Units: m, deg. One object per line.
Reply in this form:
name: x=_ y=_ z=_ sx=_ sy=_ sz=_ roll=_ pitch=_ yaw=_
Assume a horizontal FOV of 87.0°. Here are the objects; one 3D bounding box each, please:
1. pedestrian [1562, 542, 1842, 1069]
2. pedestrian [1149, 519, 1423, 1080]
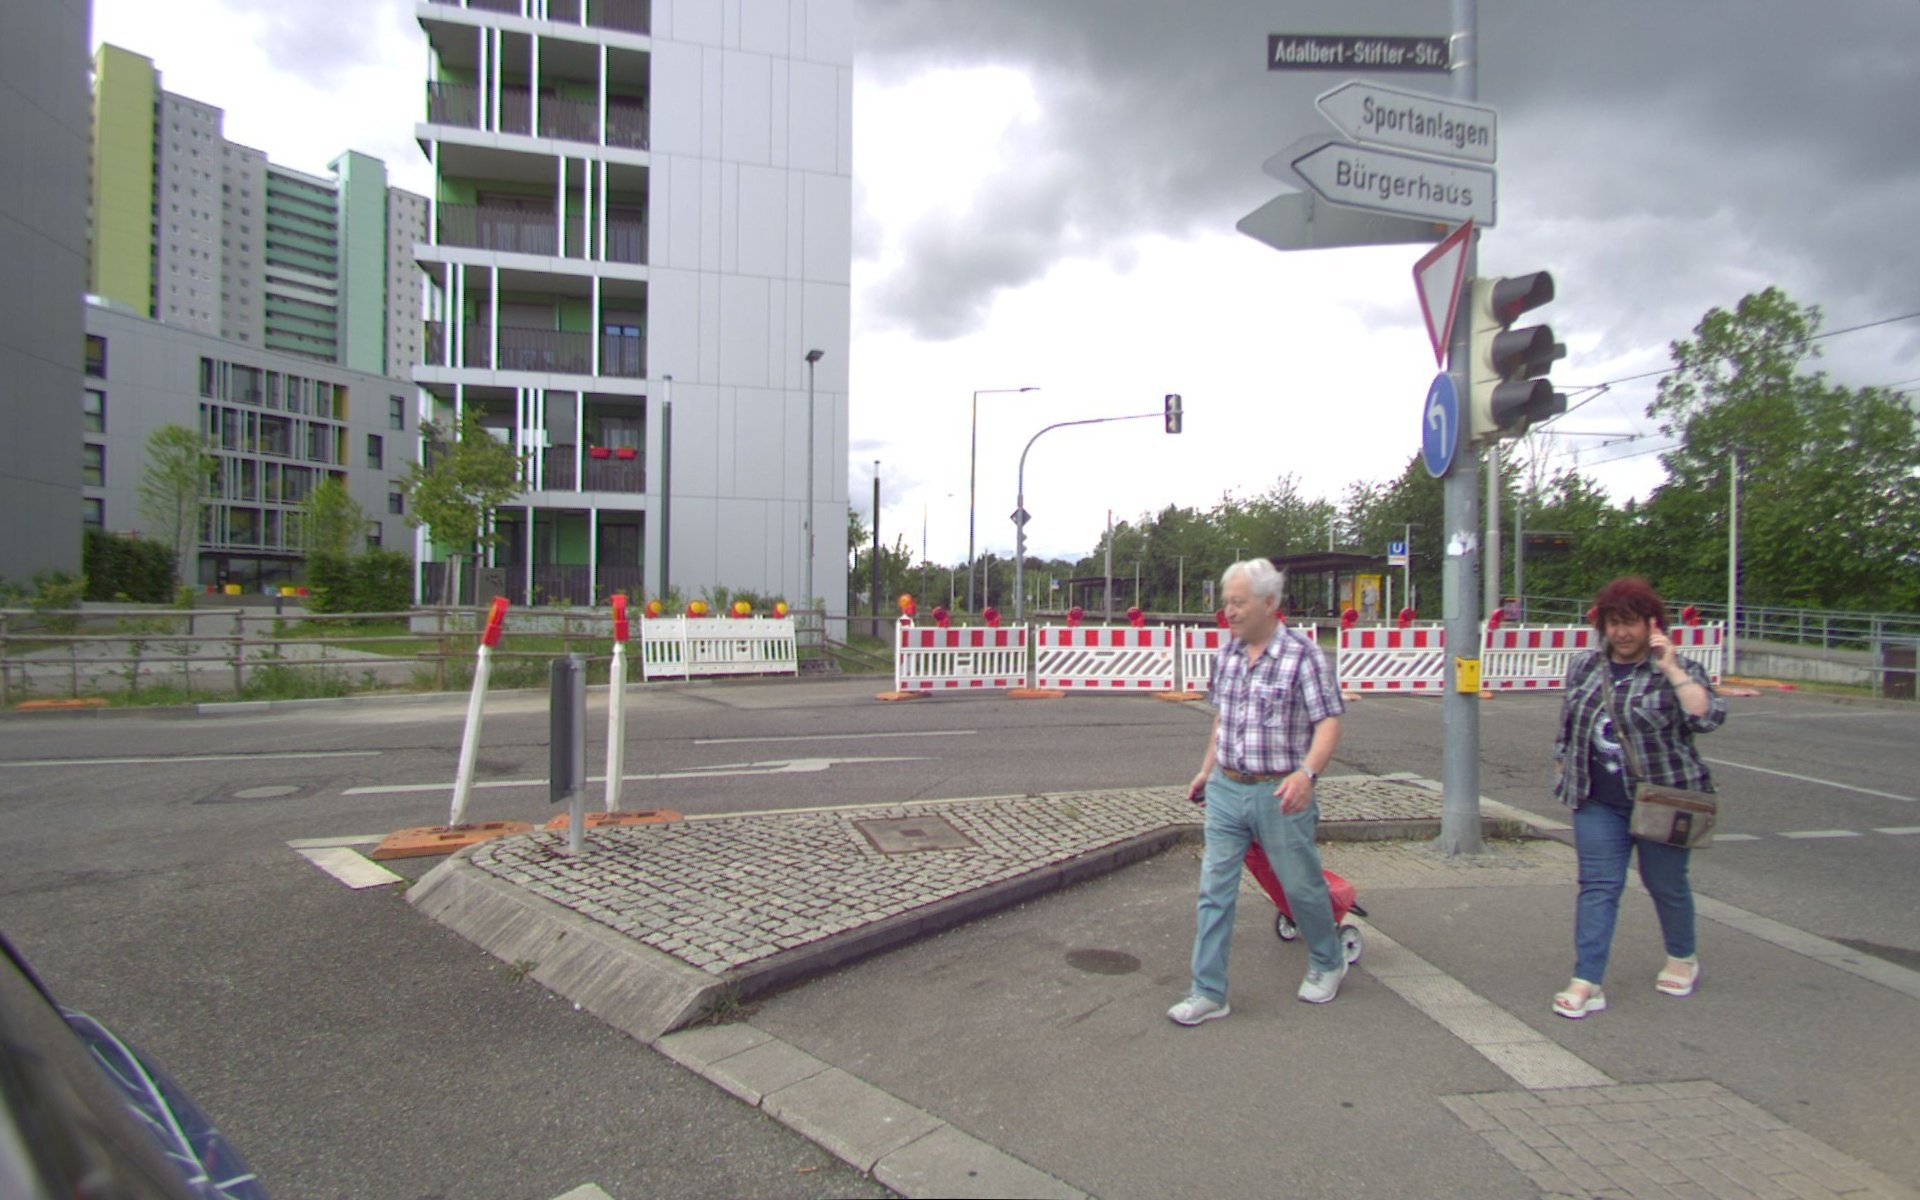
pedestrian: x=2.515 y=0.616 z=3.523 sx=0.689 sy=1.579 sz=0.725 roll=0 pitch=0 yaw=29
pedestrian: x=1.126 y=0.576 z=3.455 sx=0.698 sy=1.646 sz=0.714 roll=0 pitch=1 yaw=36
